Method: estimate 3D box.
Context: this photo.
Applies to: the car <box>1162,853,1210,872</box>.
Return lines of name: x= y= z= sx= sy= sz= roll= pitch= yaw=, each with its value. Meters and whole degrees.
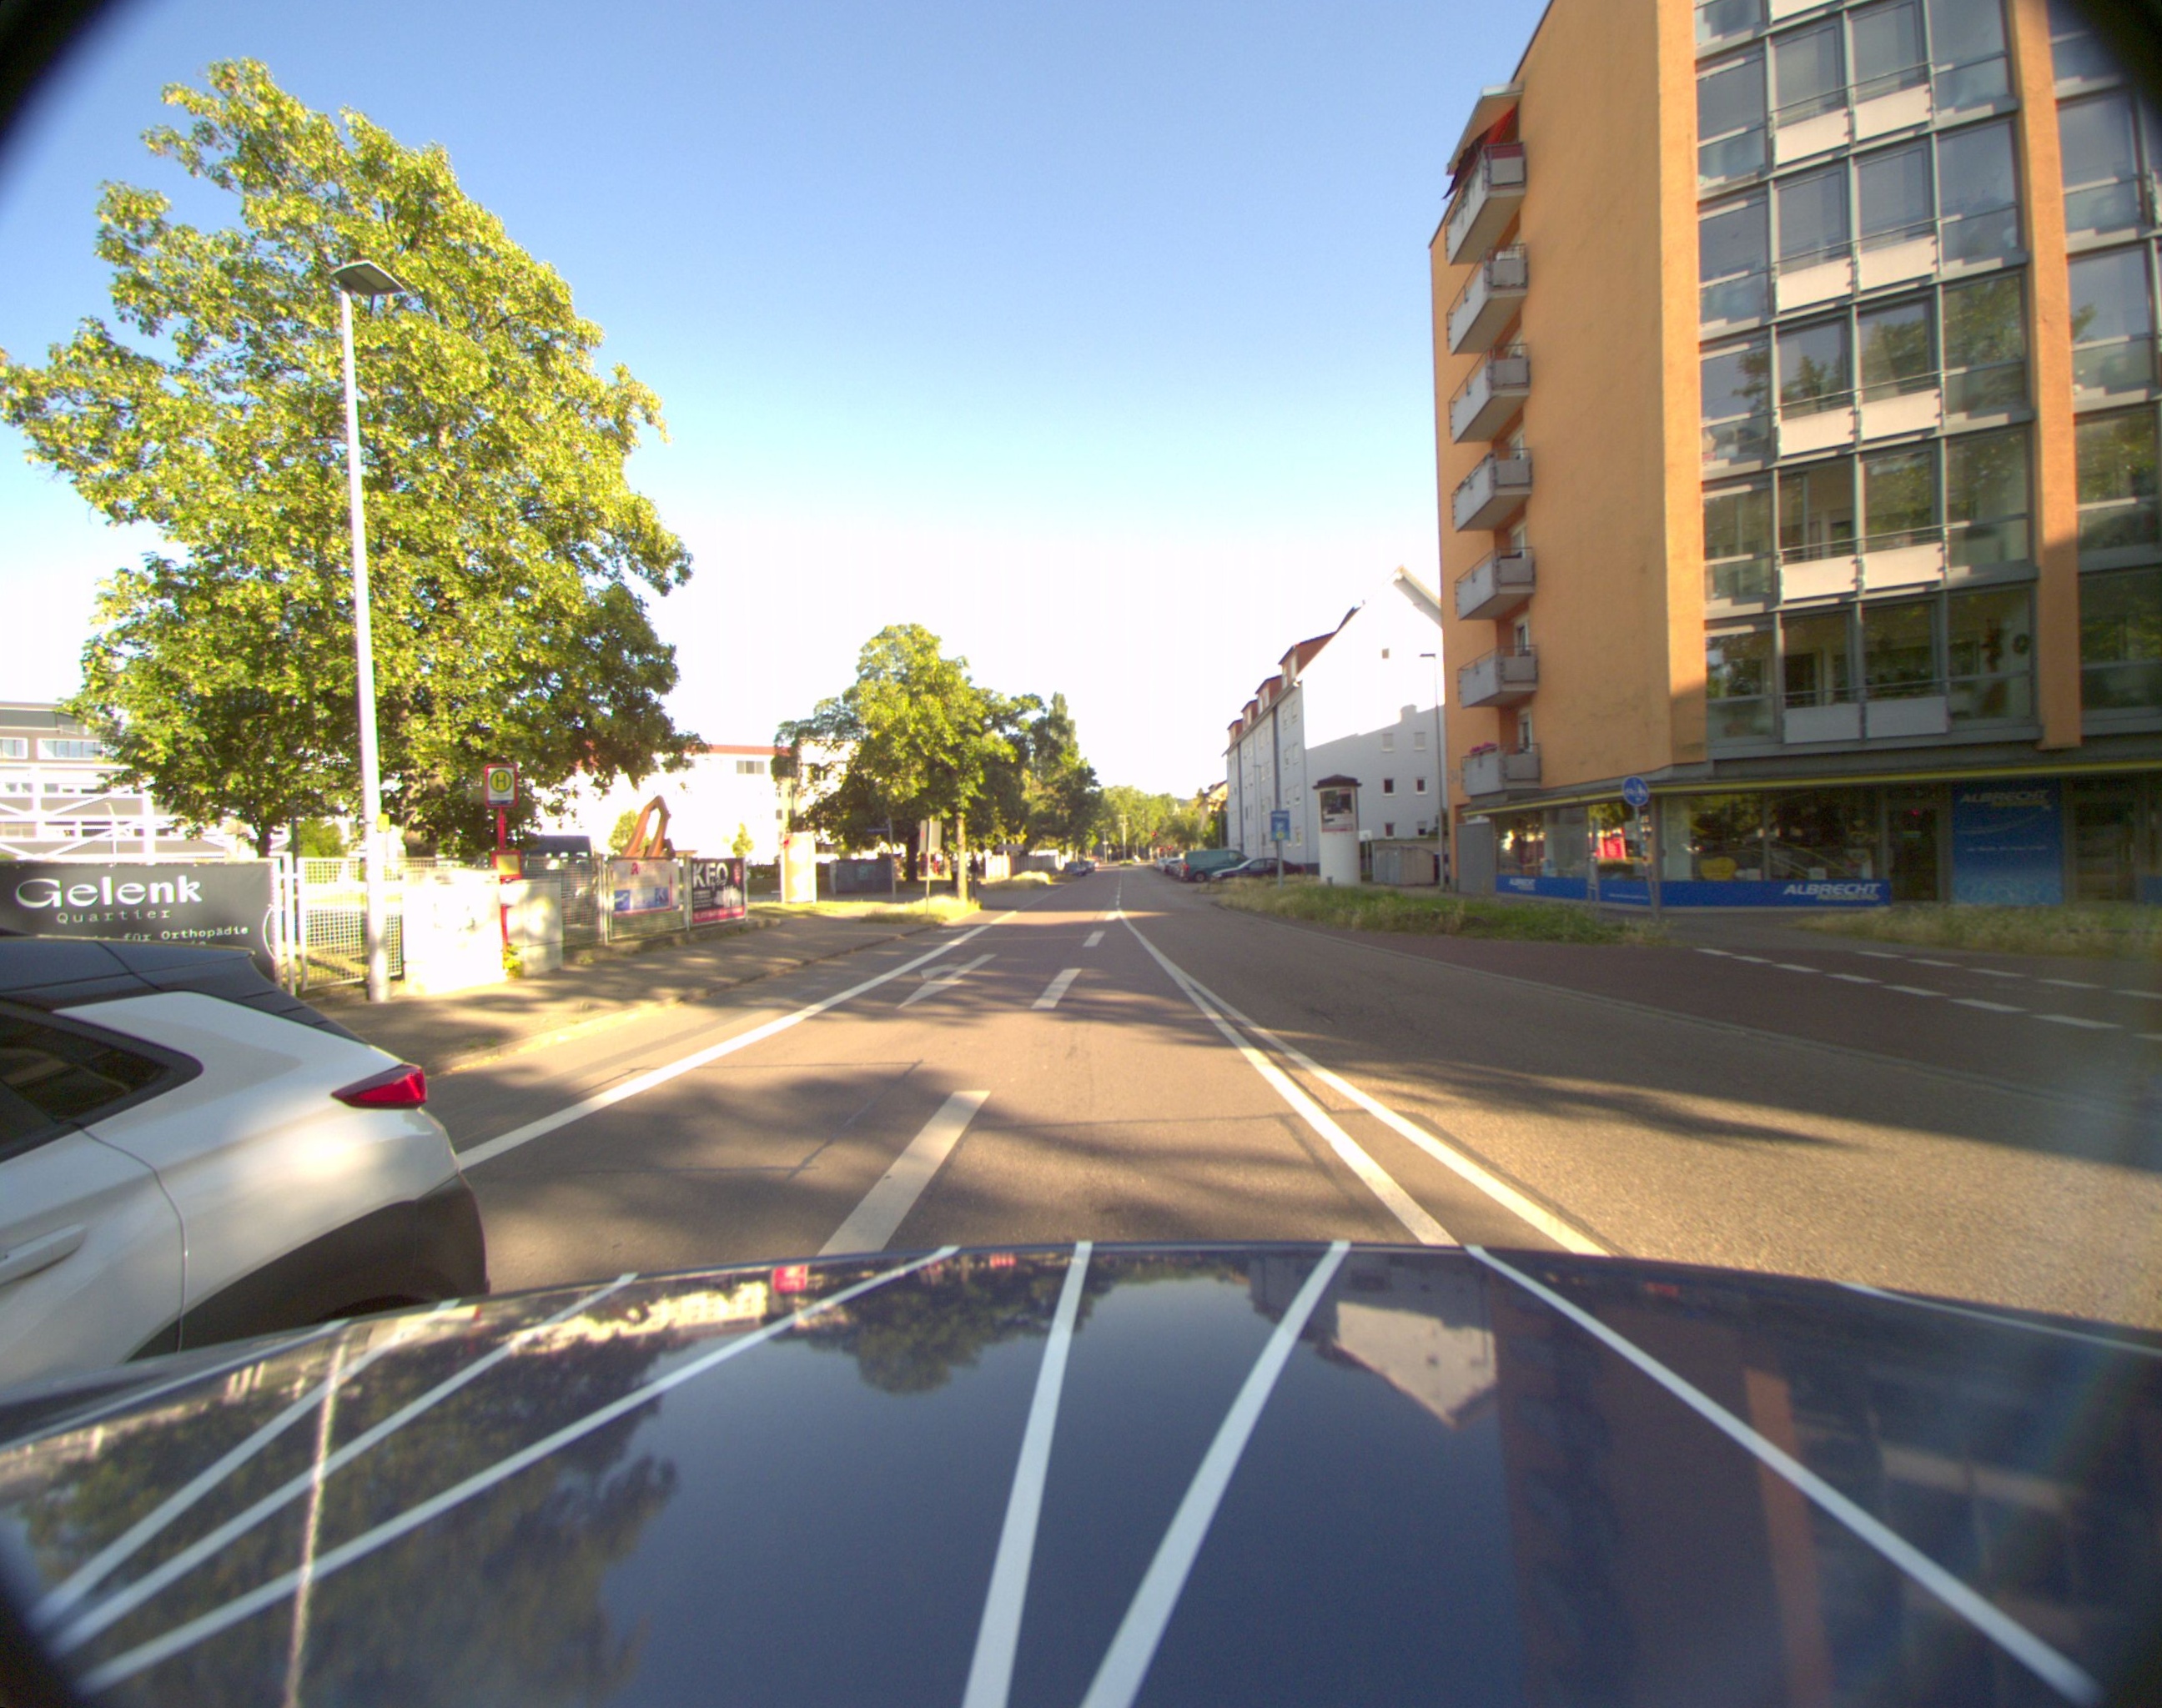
car: x=9.565 y=0.767 z=69.366 sx=4.257 sy=1.564 sz=1.867 roll=-2 pitch=1 yaw=5

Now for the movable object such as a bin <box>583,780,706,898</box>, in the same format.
movable object such as a bin: x=-22.232 y=-0.707 z=38.542 sx=3.986 sy=5.447 sz=6.016 roll=-3 pitch=1 yaw=-42

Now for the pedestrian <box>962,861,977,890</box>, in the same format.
pedestrian: x=-5.661 y=1.083 z=38.527 sx=0.609 sy=1.426 sz=0.639 roll=-2 pitch=1 yaw=1

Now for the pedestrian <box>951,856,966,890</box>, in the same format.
pedestrian: x=-6.289 y=0.964 z=39.057 sx=0.609 sy=1.727 sz=0.638 roll=-2 pitch=1 yaw=-5

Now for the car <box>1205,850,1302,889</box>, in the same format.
car: x=8.294 y=0.728 z=36.866 sx=4.423 sy=1.652 sz=2.001 roll=-2 pitch=1 yaw=9

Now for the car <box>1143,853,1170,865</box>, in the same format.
car: x=10.465 y=0.694 z=105.234 sx=3.538 sy=1.564 sz=1.867 roll=-2 pitch=1 yaw=5

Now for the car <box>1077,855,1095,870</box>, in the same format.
car: x=0.567 y=0.942 z=87.969 sx=1.998 sy=1.521 sz=3.999 roll=-2 pitch=1 yaw=1

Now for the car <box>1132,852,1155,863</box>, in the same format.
car: x=9.701 y=0.578 z=118.215 sx=3.538 sy=1.564 sz=1.867 roll=-2 pitch=1 yaw=5

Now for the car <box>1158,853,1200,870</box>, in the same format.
car: x=10.305 y=0.748 z=79.923 sx=4.257 sy=1.564 sz=1.867 roll=-2 pitch=1 yaw=5

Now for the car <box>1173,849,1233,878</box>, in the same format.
car: x=8.568 y=0.663 z=53.685 sx=4.059 sy=1.805 sz=1.937 roll=-2 pitch=1 yaw=5

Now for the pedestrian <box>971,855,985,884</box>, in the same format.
pedestrian: x=-6.057 y=0.925 z=44.505 sx=0.696 sy=1.659 sz=0.638 roll=-2 pitch=1 yaw=-11

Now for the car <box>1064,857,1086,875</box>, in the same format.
car: x=-0.589 y=1.143 z=73.936 sx=1.998 sy=1.521 sz=3.999 roll=-2 pitch=1 yaw=1

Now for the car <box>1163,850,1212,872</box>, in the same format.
car: x=9.272 y=0.602 z=66.480 sx=4.117 sy=1.762 sz=1.757 roll=-2 pitch=1 yaw=5

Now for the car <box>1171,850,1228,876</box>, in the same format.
car: x=8.745 y=0.657 z=56.429 sx=4.071 sy=1.741 sz=1.899 roll=-2 pitch=1 yaw=5

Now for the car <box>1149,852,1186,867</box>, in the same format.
car: x=10.221 y=0.637 z=90.182 sx=4.257 sy=1.564 sz=1.867 roll=-2 pitch=1 yaw=5

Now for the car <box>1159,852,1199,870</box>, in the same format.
car: x=10.257 y=0.718 z=80.058 sx=4.071 sy=1.741 sz=1.899 roll=-2 pitch=1 yaw=5

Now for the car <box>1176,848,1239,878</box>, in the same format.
car: x=8.497 y=0.582 z=51.335 sx=3.995 sy=1.805 sz=2.000 roll=-2 pitch=1 yaw=5

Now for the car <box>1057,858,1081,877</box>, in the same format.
car: x=-1.092 y=1.211 z=69.588 sx=1.998 sy=1.521 sz=3.999 roll=-2 pitch=1 yaw=1

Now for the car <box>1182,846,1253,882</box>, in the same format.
car: x=8.191 y=0.589 z=45.931 sx=3.996 sy=1.936 sz=2.000 roll=-2 pitch=1 yaw=4

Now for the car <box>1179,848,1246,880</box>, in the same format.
car: x=8.353 y=0.619 z=48.579 sx=3.995 sy=1.805 sz=2.000 roll=-2 pitch=1 yaw=5
